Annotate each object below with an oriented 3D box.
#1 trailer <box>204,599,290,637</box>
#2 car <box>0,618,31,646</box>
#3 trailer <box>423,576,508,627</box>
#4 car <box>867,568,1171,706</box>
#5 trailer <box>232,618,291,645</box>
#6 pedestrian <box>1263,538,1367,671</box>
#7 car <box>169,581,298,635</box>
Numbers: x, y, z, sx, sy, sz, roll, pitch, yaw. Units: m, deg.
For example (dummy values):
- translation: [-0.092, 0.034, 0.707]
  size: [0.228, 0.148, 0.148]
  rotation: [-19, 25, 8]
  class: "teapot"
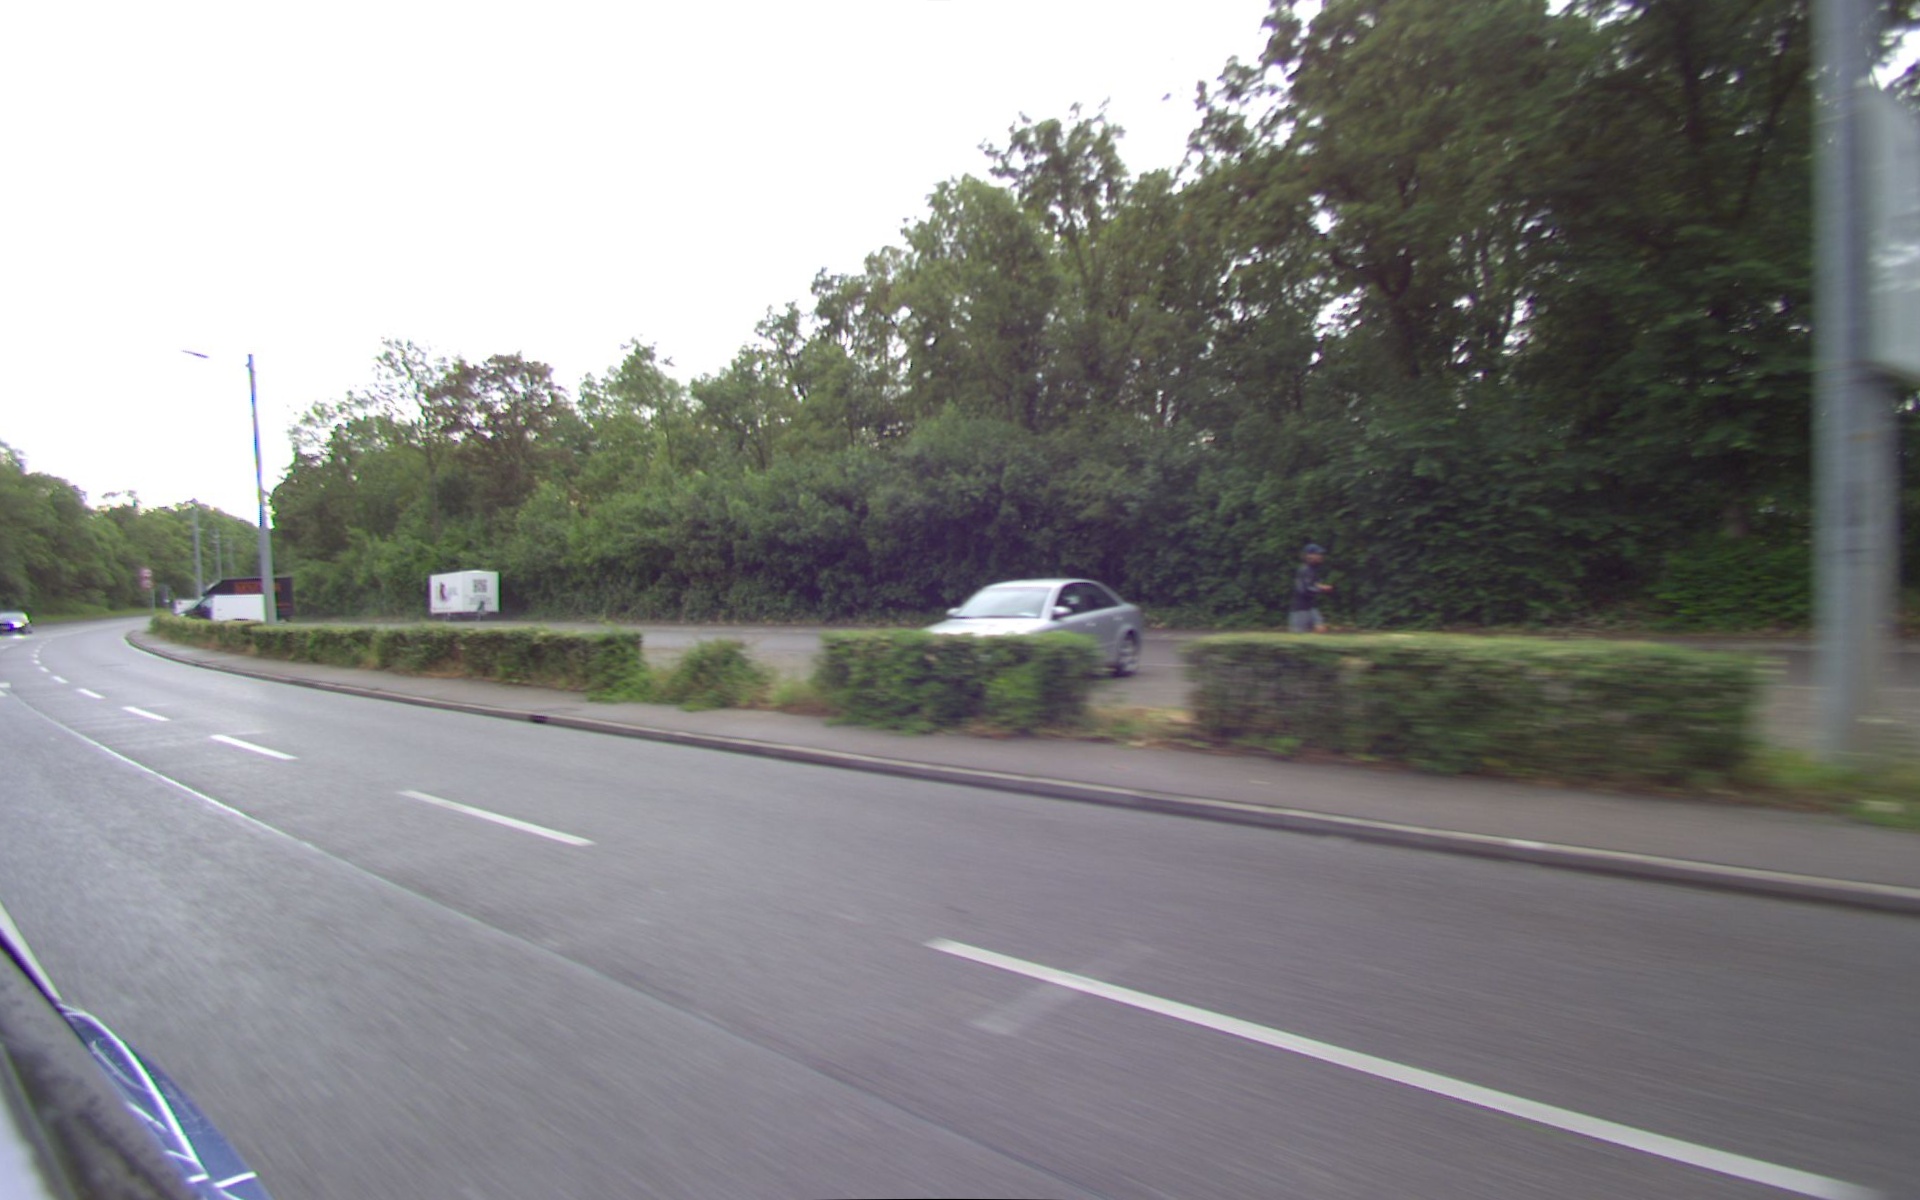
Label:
- translation: [-41.535, 0.997, 58.978]
  size: [3.937, 2.068, 1.876]
  rotation: [-1, 0, -40]
  class: "trailer"
- translation: [-62.465, 2.084, 66.184]
  size: [1.967, 1.696, 4.010]
  rotation: [-1, 0, -35]
  class: "car"
- translation: [-30.162, 0.106, 61.542]
  size: [2.446, 2.895, 7.986]
  rotation: [-1, 0, -43]
  class: "trailer"
- translation: [0.985, 0.372, 13.672]
  size: [1.996, 1.517, 4.536]
  rotation: [-1, 1, 35]
  class: "car"
- translation: [-29.181, 1.310, 42.302]
  size: [1.334, 1.042, 1.781]
  rotation: [-1, 1, 44]
  class: "trailer"
- translation: [5.074, 0.057, 14.480]
  size: [1.136, 1.811, 0.808]
  rotation: [-1, 0, 44]
  class: "pedestrian"
- translation: [-45.194, 0.440, 63.030]
  size: [6.197, 3.136, 2.755]
  rotation: [-2, 2, -43]
  class: "car"
